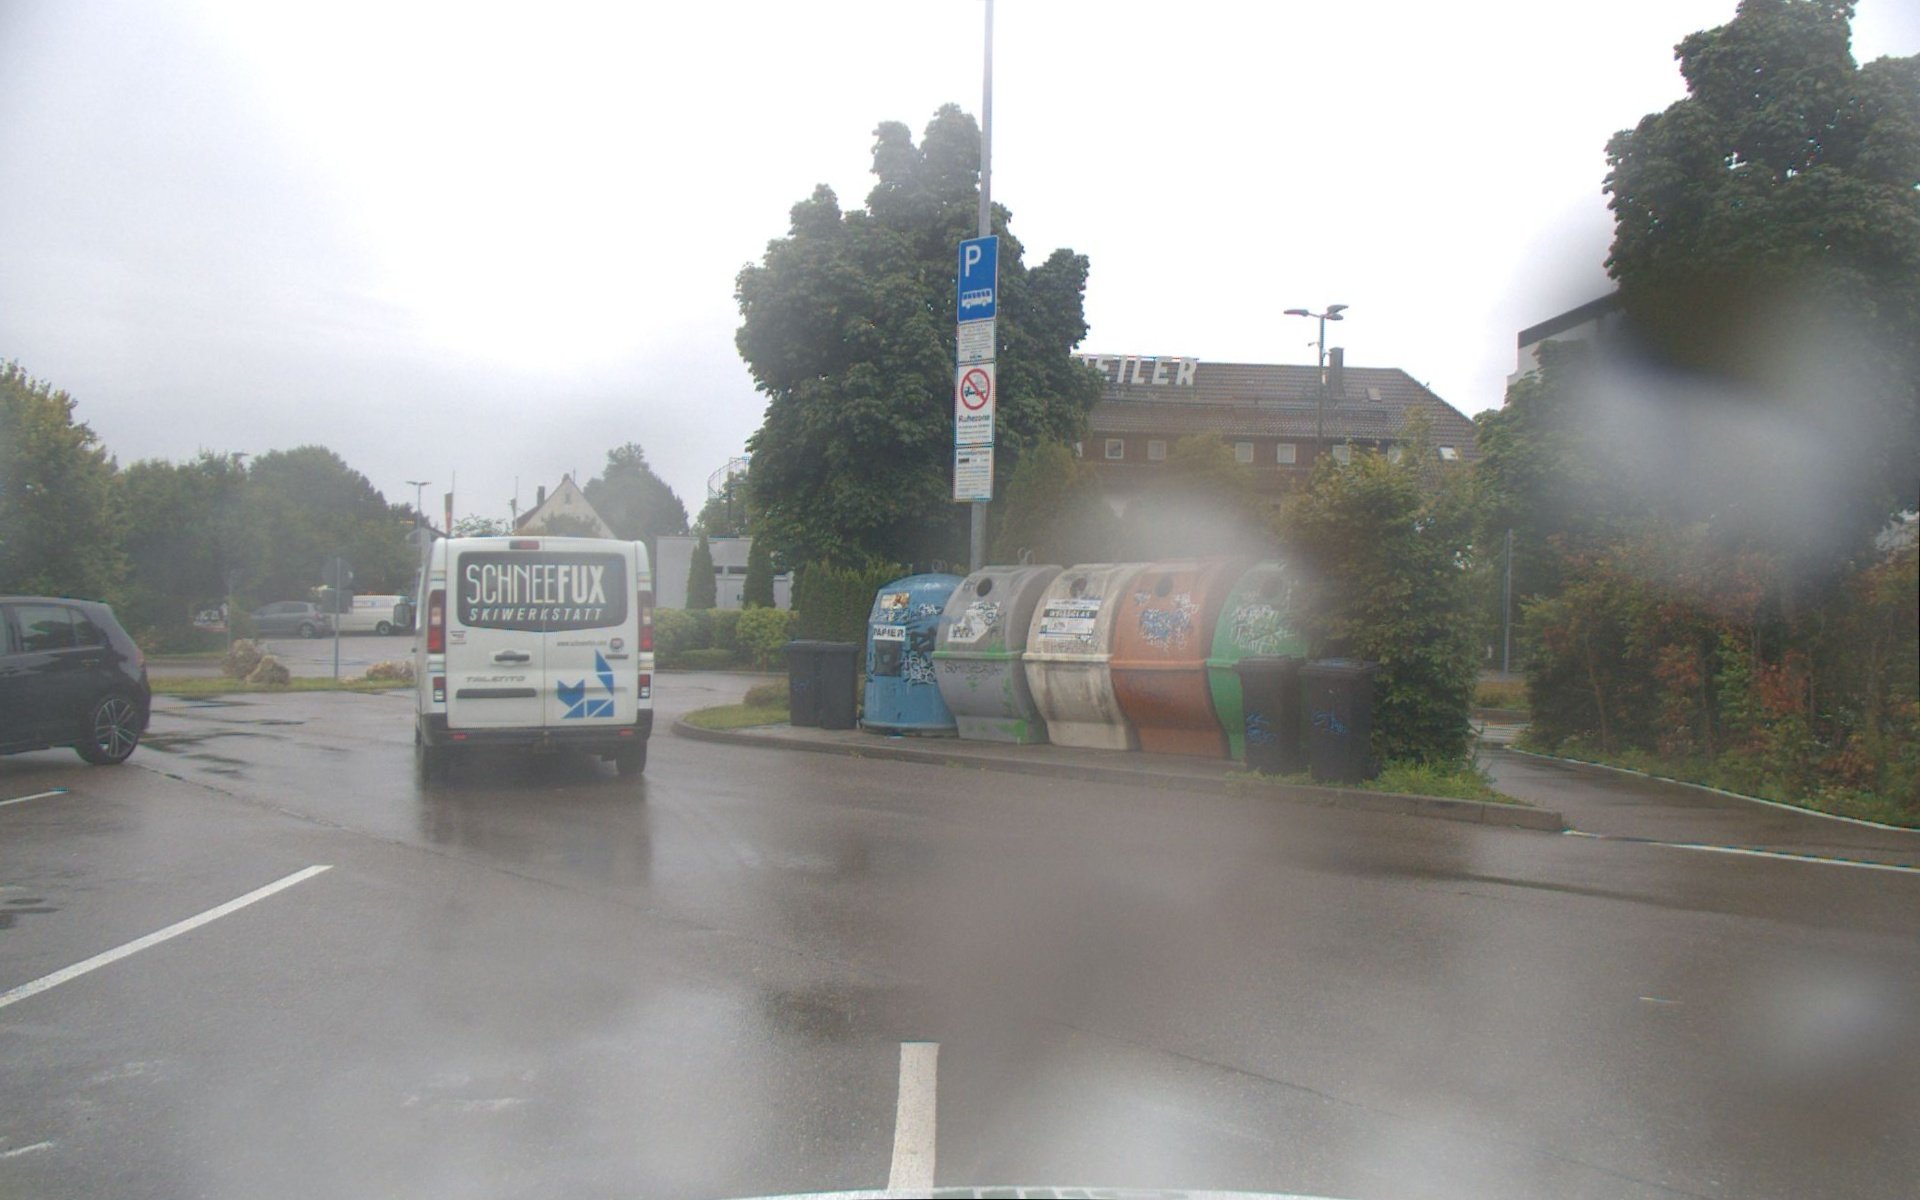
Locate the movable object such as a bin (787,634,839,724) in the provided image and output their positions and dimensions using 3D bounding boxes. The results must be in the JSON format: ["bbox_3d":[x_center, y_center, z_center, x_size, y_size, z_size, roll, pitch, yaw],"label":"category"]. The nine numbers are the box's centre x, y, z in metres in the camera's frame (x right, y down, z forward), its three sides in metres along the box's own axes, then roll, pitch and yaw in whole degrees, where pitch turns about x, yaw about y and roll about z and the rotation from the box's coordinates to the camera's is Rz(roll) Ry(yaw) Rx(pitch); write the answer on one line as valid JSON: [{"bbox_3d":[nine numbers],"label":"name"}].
[{"bbox_3d":[-1.600,0.852,18.019,0.442,0.955,0.485,0,0,-23],"label":"movable object such as a bin"}]

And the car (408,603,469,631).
[{"bbox_3d":[-28.349,0.901,89.862,3.613,1.483,1.547,0,0,41],"label":"car"}]

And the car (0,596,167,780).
[{"bbox_3d":[-8.507,0.701,13.183,1.736,1.458,4.082,0,0,14],"label":"car"}]

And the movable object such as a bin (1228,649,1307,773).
[{"bbox_3d":[2.402,0.858,12.934,0.485,0.936,0.415,0,0,-12],"label":"movable object such as a bin"}]

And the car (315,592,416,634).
[{"bbox_3d":[-29.417,0.633,81.948,4.431,2.069,1.644,0,0,-4],"label":"car"}]

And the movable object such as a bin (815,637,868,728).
[{"bbox_3d":[-1.261,0.866,17.588,0.442,0.933,0.485,0,0,-23],"label":"movable object such as a bin"}]

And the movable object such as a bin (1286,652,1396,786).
[{"bbox_3d":[2.800,0.865,12.178,0.617,0.936,0.555,0,0,-12],"label":"movable object such as a bin"}]

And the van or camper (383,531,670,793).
[{"bbox_3d":[-4.066,0.463,15.303,2.153,1.979,5.173,0,0,-17],"label":"van or camper"}]

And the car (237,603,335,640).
[{"bbox_3d":[-29.310,0.917,72.026,3.658,1.578,1.449,0,0,-4],"label":"car"}]
